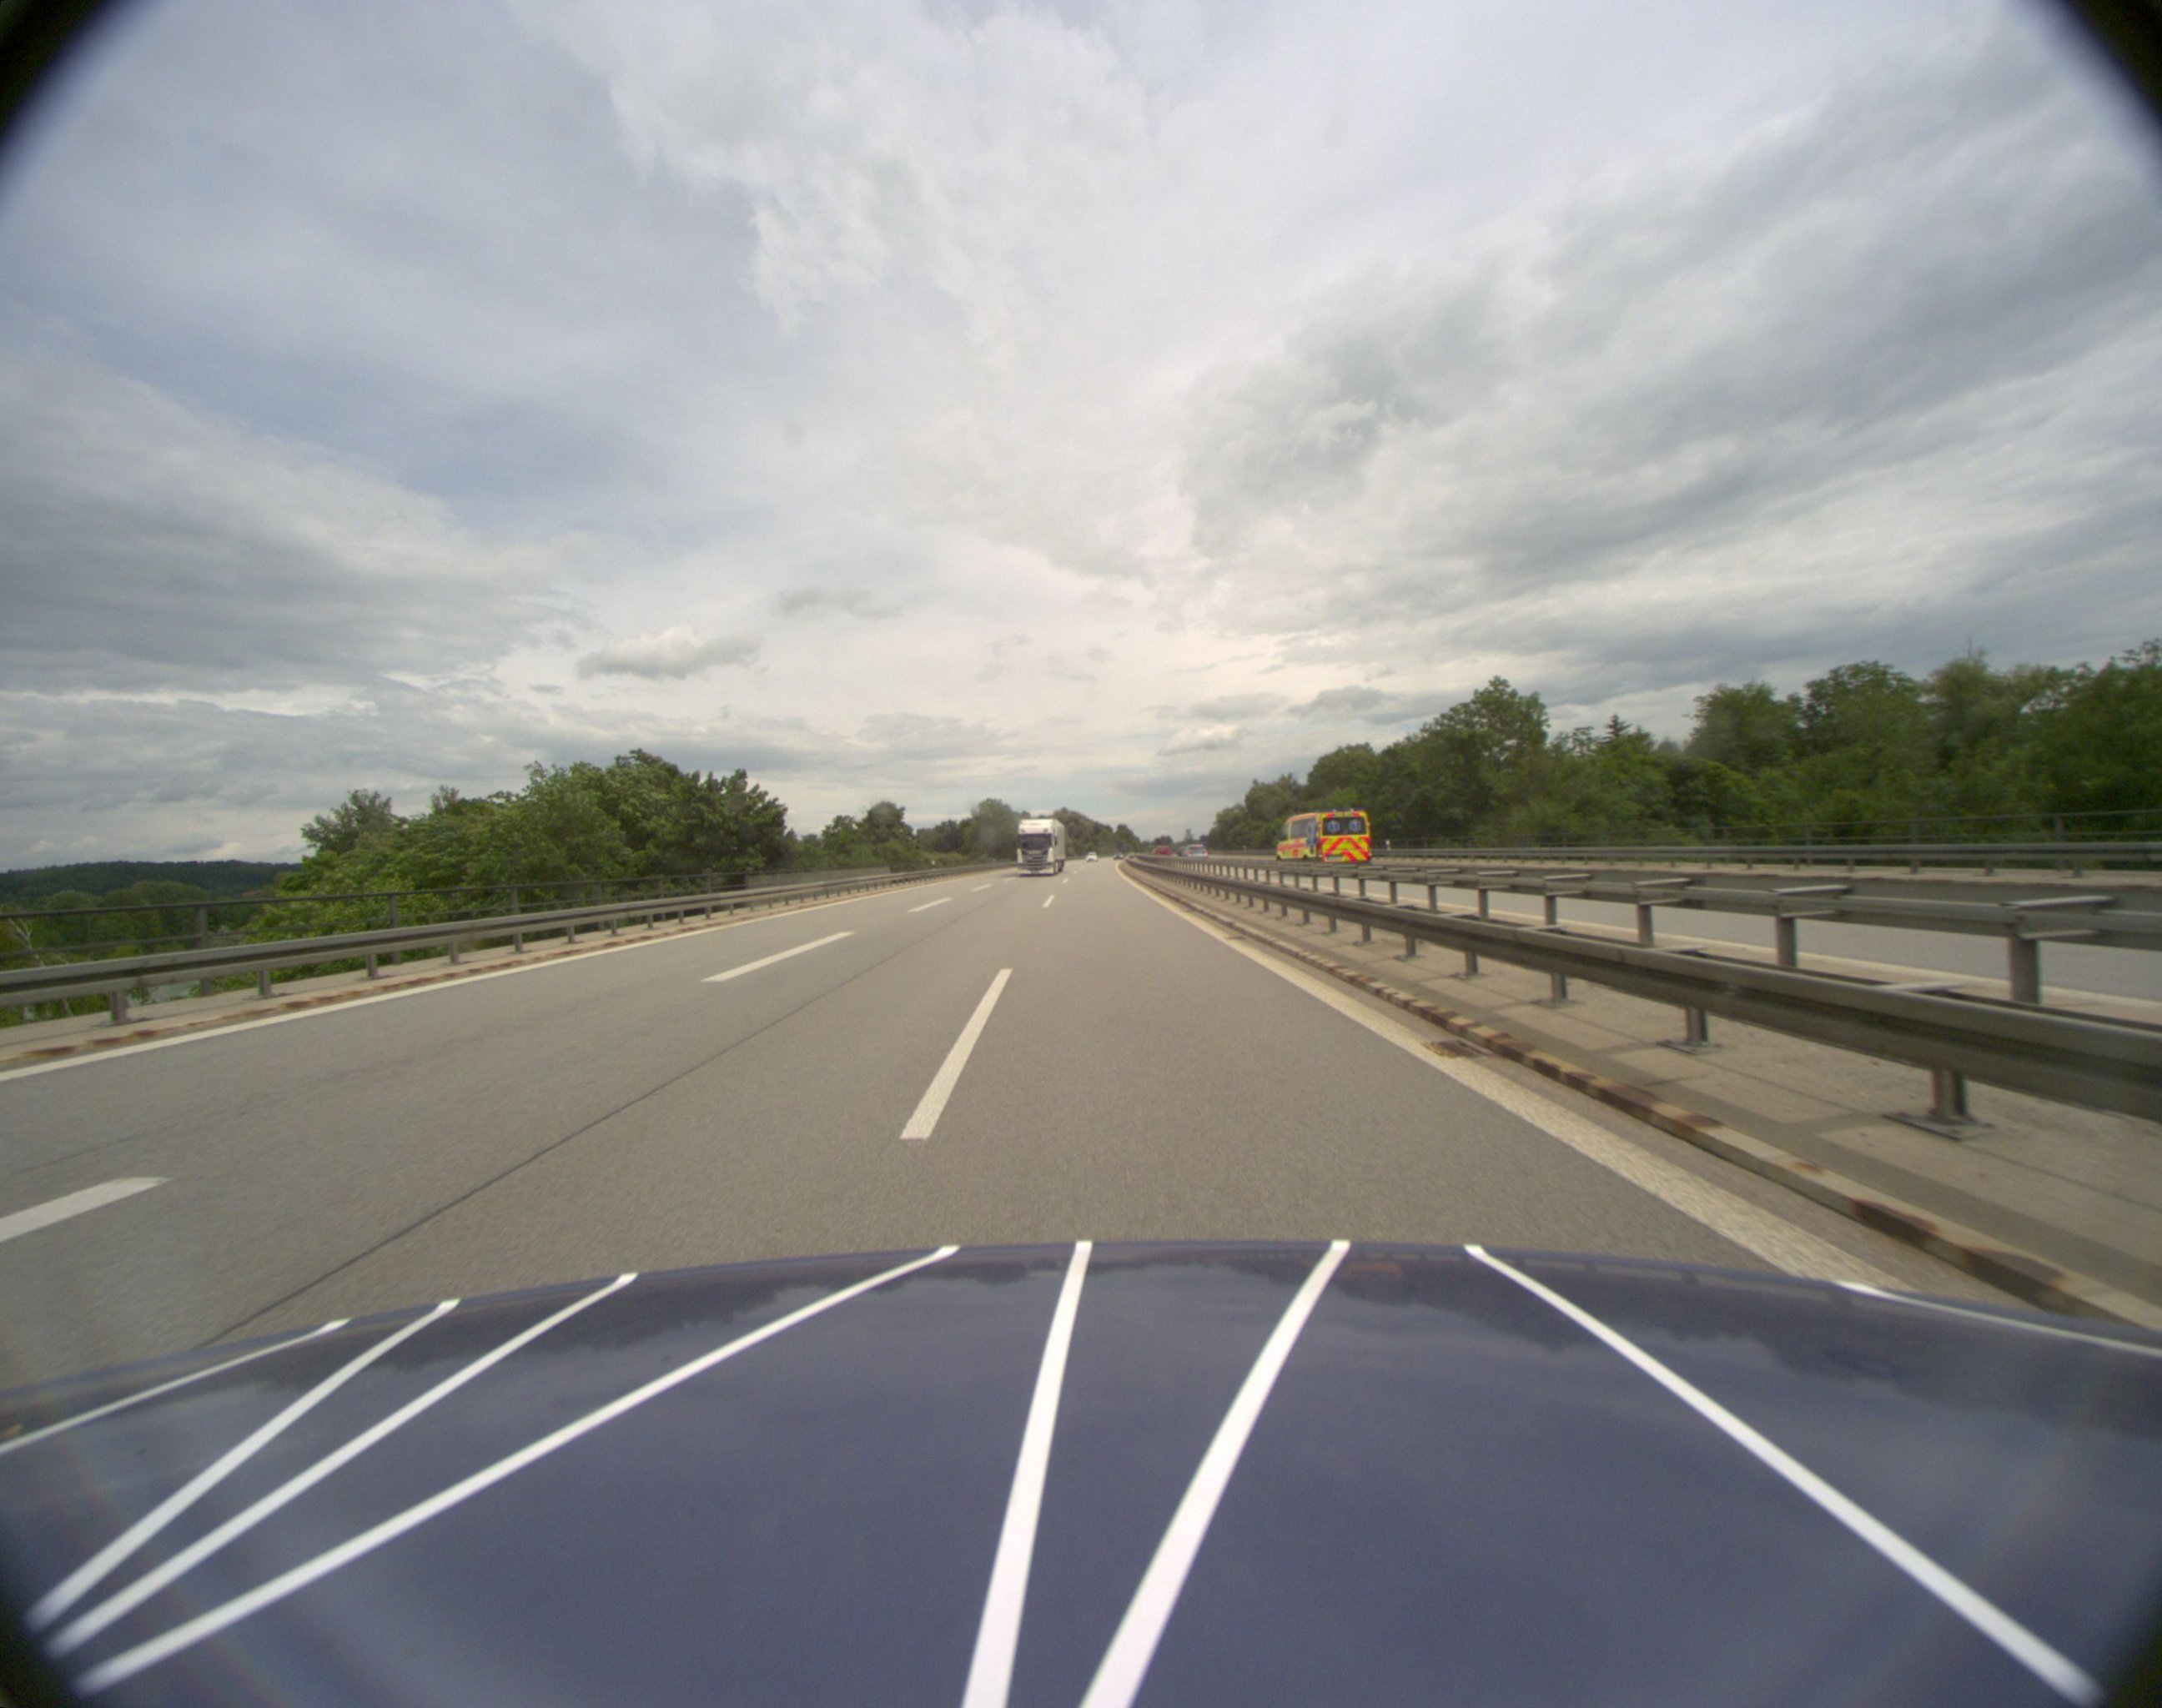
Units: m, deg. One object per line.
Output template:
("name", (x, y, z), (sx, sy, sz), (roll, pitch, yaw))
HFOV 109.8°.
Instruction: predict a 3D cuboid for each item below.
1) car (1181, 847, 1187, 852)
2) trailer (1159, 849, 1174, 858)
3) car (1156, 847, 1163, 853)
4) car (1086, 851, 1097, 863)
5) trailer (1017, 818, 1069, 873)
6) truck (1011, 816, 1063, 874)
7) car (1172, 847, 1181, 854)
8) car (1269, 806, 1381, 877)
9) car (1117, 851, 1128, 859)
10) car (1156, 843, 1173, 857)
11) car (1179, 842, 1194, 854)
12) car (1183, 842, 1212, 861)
("car", (31.353, -1.513, 230.925), (1.695, 1.428, 4.113), (-3, 0, 9))
("trailer", (10.851, -0.086, 96.091), (1.563, 1.118, 3.450), (-2, 0, 1))
("car", (20.210, -1.055, 195.953), (1.647, 1.540, 4.001), (-2, 0, 6))
("car", (1.804, 0.522, 131.378), (1.775, 1.813, 4.165), (-3, 1, 2))
("trailer", (-2.862, -0.615, 62.073), (3.069, 3.868, 13.791), (-2, 0, 1))
("truck", (-3.034, -0.604, 54.250), (3.069, 3.869, 6.000), (-2, 0, 1))
("car", (24.243, -0.899, 193.857), (1.998, 1.735, 4.226), (-3, 0, 4))
("car", (9.022, -0.429, 28.811), (1.999, 2.279, 6.396), (-3, 0, -1))
("car", (8.185, 0.239, 149.930), (1.774, 1.474, 4.698), (-3, 0, 5))
("car", (10.944, -0.536, 100.036), (1.817, 1.631, 4.568), (-3, 0, 1))
("car", (15.882, -0.897, 114.287), (1.714, 1.631, 4.568), (-3, 1, 1))
("car", (9.210, -0.223, 60.415), (1.733, 1.398, 4.249), (-3, 1, 1))
